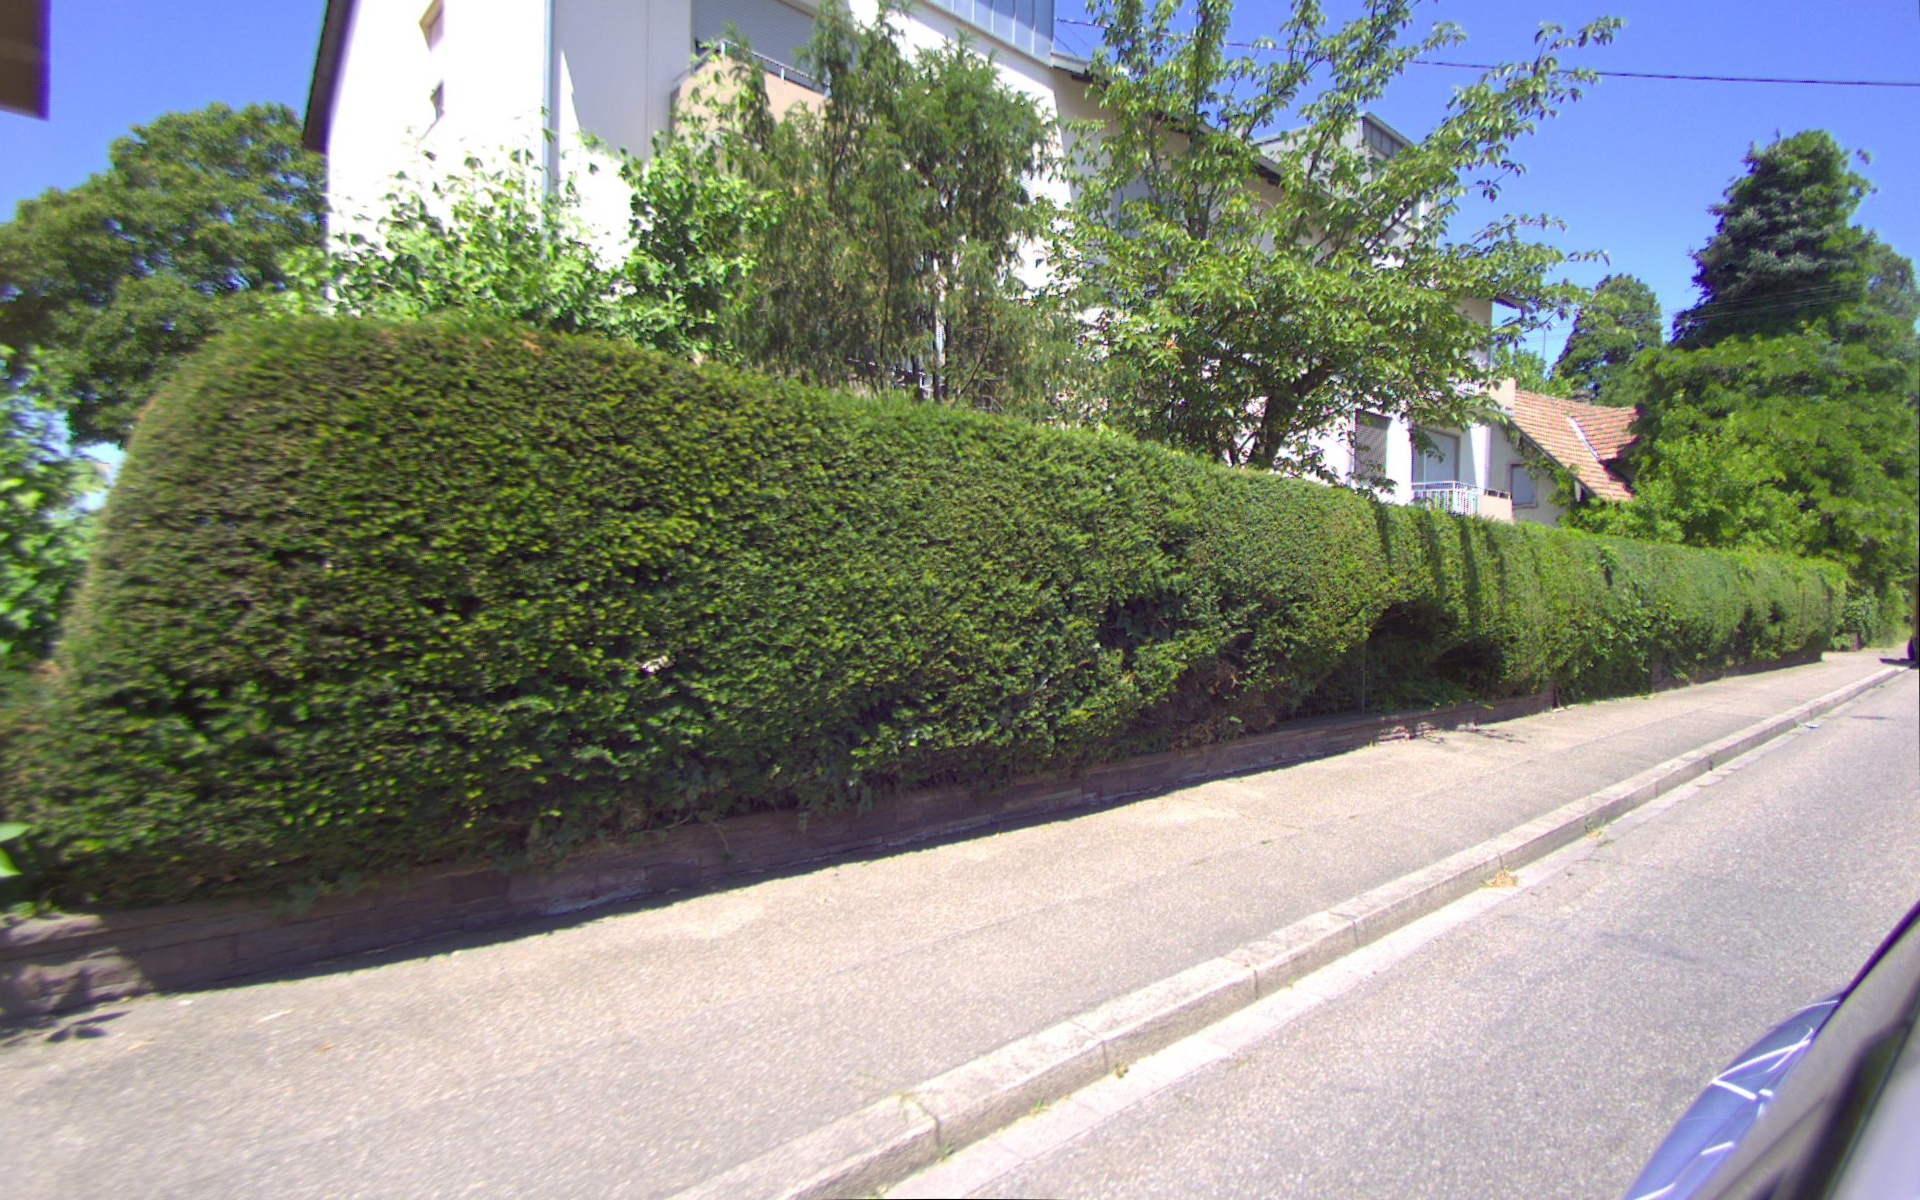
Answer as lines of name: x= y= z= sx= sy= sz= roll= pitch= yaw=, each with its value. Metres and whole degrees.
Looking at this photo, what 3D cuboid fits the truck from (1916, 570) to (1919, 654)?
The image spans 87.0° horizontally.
truck: x=26.609 y=0.319 z=26.479 sx=2.011 sy=2.338 sz=6.083 roll=-2 pitch=-2 yaw=41
